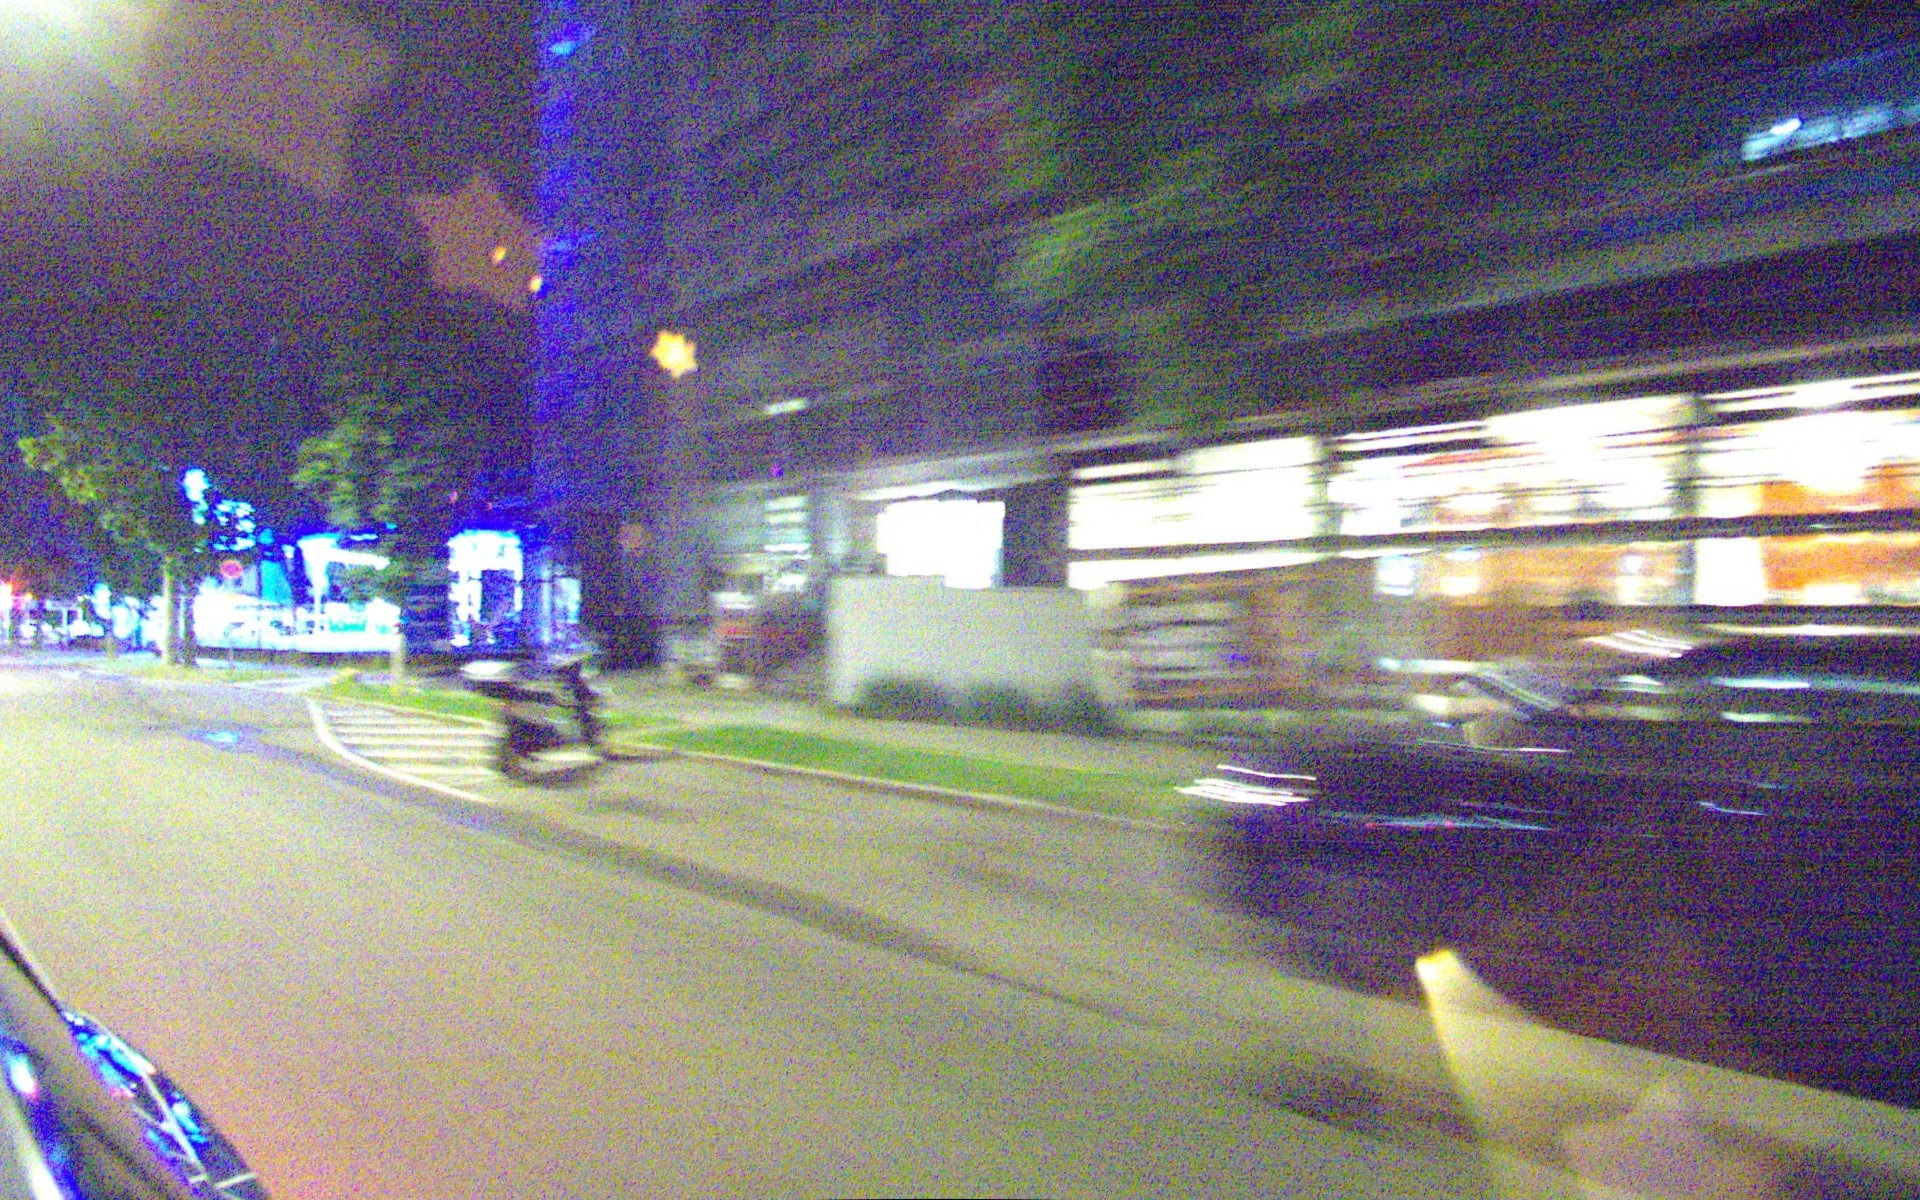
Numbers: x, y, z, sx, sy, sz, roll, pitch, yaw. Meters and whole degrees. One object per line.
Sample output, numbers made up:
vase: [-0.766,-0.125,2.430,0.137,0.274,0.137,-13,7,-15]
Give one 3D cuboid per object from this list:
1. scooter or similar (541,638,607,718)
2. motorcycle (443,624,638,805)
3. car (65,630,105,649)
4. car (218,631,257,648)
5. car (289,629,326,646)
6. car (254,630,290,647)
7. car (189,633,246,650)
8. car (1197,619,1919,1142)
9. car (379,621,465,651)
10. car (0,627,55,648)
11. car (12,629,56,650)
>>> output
scooter or similar: [-6.221,1.235,16.284,1.427,1.213,0.363,-1,-2,41]
motorcycle: [-4.095,1.052,10.060,0.635,1.561,1.894,-1,0,21]
car: [-71.051,3.195,82.136,4.067,1.472,1.840,-2,-3,40]
car: [-64.294,3.501,89.992,4.351,1.489,1.840,-2,-1,41]
car: [-60.957,3.490,94.581,4.084,1.489,1.840,-2,-1,41]
car: [-62.582,3.453,92.066,4.084,1.489,1.710,-2,-2,41]
car: [-70.762,3.927,96.514,1.716,1.489,4.256,-1,-1,13]
car: [3.088,0.862,3.922,3.901,1.516,1.626,-2,0,40]
car: [-28.860,1.913,54.374,1.669,1.544,3.711,-2,-2,40]
car: [-80.387,3.217,87.124,1.633,1.712,3.529,-1,-3,40]
car: [-73.037,3.084,79.813,4.383,1.569,1.973,-2,-1,40]
